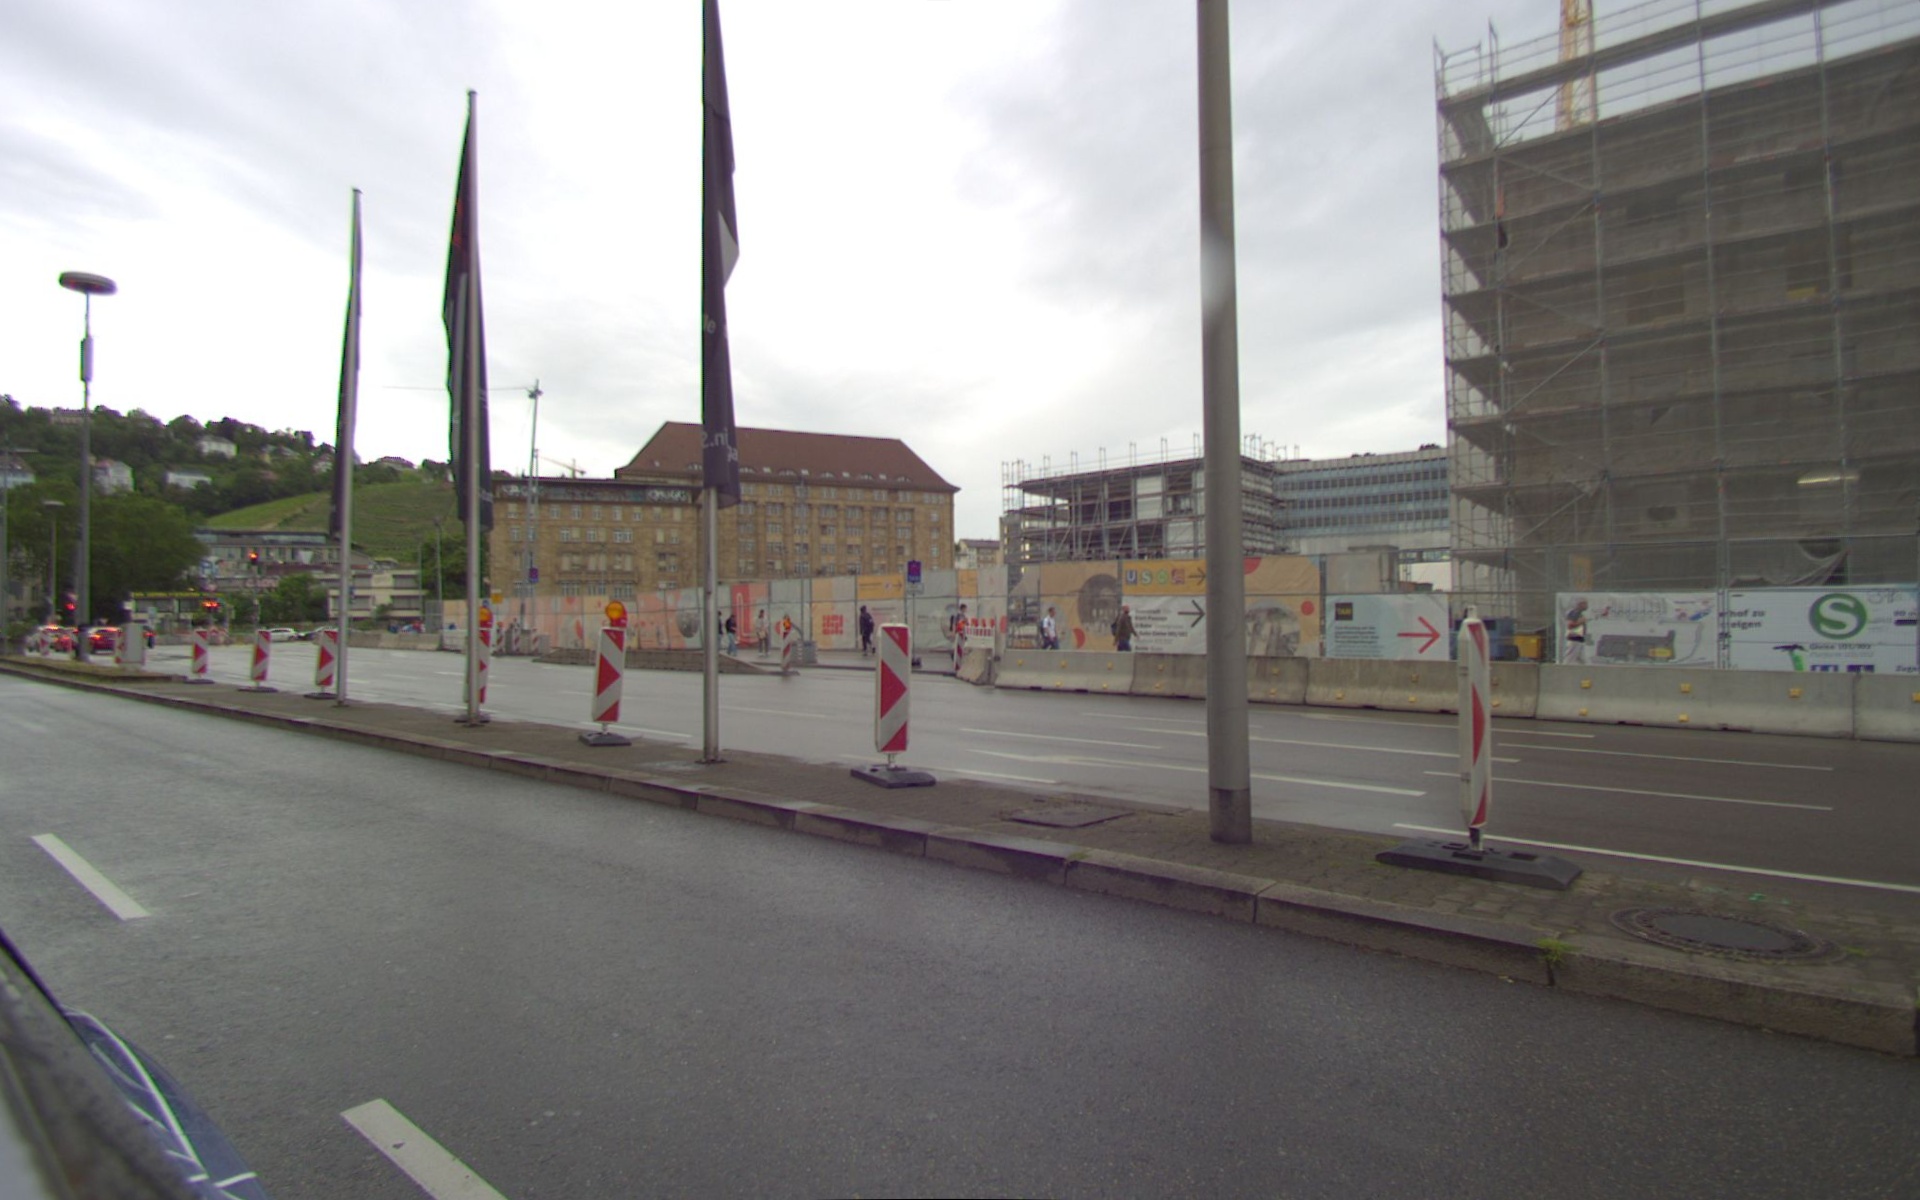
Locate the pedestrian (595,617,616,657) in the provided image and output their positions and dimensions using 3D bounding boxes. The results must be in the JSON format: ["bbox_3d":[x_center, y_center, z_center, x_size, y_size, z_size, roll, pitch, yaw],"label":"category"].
[{"bbox_3d":[-16.722,1.752,47.741,0.720,1.850,0.656,-1,0,41],"label":"pedestrian"}]

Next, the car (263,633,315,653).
[{"bbox_3d":[-68.271,4.320,102.956,4.136,1.871,1.833,-1,0,-44],"label":"car"}]

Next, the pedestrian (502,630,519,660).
[{"bbox_3d":[-24.741,2.464,55.705,0.544,1.628,0.706,-1,0,41],"label":"pedestrian"}]

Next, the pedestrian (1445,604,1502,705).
[{"bbox_3d":[9.685,1.009,19.095,0.819,1.850,0.572,-1,0,41],"label":"pedestrian"}]

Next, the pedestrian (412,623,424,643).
[{"bbox_3d":[-43.705,2.644,81.662,0.544,1.628,0.706,-1,0,41],"label":"pedestrian"}]

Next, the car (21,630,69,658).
[{"bbox_3d":[-59.088,2.811,65.326,3.913,1.707,1.763,-1,0,40],"label":"car"}]

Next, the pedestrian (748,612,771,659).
[{"bbox_3d":[-7.783,1.367,39.203,0.704,1.757,0.565,-1,0,-29],"label":"pedestrian"}]

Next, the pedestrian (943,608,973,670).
[{"bbox_3d":[-0.063,1.188,31.110,0.717,1.850,0.579,-1,0,41],"label":"pedestrian"}]

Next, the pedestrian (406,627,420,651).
[{"bbox_3d":[-37.946,2.689,70.172,0.544,1.628,0.706,-1,0,41],"label":"pedestrian"}]

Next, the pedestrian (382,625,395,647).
[{"bbox_3d":[-42.774,2.691,75.726,0.544,1.628,0.706,-1,0,41],"label":"pedestrian"}]

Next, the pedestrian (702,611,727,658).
[{"bbox_3d":[-9.317,1.288,38.438,0.704,1.746,0.719,-1,0,-31],"label":"pedestrian"}]

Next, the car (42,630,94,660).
[{"bbox_3d":[-54.181,2.718,61.474,3.913,1.707,1.763,-1,0,40],"label":"car"}]

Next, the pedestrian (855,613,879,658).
[{"bbox_3d":[-3.446,1.300,37.479,0.544,1.628,0.706,-1,0,41],"label":"pedestrian"}]

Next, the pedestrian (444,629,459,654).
[{"bbox_3d":[-32.998,2.682,65.623,0.544,1.628,0.706,-1,0,41],"label":"pedestrian"}]

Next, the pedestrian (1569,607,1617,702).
[{"bbox_3d":[12.661,1.078,20.250,0.717,1.850,0.475,-1,0,41],"label":"pedestrian"}]

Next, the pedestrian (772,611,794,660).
[{"bbox_3d":[-6.855,1.356,39.133,0.651,1.850,0.557,-1,0,-29],"label":"pedestrian"}]

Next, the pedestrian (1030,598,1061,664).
[{"bbox_3d":[2.458,0.880,29.091,0.717,1.850,0.475,-1,0,41],"label":"pedestrian"}]

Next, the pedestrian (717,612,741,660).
[{"bbox_3d":[-9.043,1.403,39.610,0.704,1.850,0.719,-1,0,-31],"label":"pedestrian"}]

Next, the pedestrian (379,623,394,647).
[{"bbox_3d":[-39.439,2.424,69.603,0.544,1.628,0.706,-1,0,41],"label":"pedestrian"}]

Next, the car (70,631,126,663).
[{"bbox_3d":[-48.292,2.605,56.676,3.914,1.707,1.762,-2,-2,41],"label":"car"}]

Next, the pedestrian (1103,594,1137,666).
[{"bbox_3d":[4.171,0.769,26.438,0.717,1.850,0.475,-1,0,41],"label":"pedestrian"}]

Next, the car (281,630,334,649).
[{"bbox_3d":[-59.032,3.528,91.573,3.934,1.644,2.005,0,-2,-36],"label":"car"}]
